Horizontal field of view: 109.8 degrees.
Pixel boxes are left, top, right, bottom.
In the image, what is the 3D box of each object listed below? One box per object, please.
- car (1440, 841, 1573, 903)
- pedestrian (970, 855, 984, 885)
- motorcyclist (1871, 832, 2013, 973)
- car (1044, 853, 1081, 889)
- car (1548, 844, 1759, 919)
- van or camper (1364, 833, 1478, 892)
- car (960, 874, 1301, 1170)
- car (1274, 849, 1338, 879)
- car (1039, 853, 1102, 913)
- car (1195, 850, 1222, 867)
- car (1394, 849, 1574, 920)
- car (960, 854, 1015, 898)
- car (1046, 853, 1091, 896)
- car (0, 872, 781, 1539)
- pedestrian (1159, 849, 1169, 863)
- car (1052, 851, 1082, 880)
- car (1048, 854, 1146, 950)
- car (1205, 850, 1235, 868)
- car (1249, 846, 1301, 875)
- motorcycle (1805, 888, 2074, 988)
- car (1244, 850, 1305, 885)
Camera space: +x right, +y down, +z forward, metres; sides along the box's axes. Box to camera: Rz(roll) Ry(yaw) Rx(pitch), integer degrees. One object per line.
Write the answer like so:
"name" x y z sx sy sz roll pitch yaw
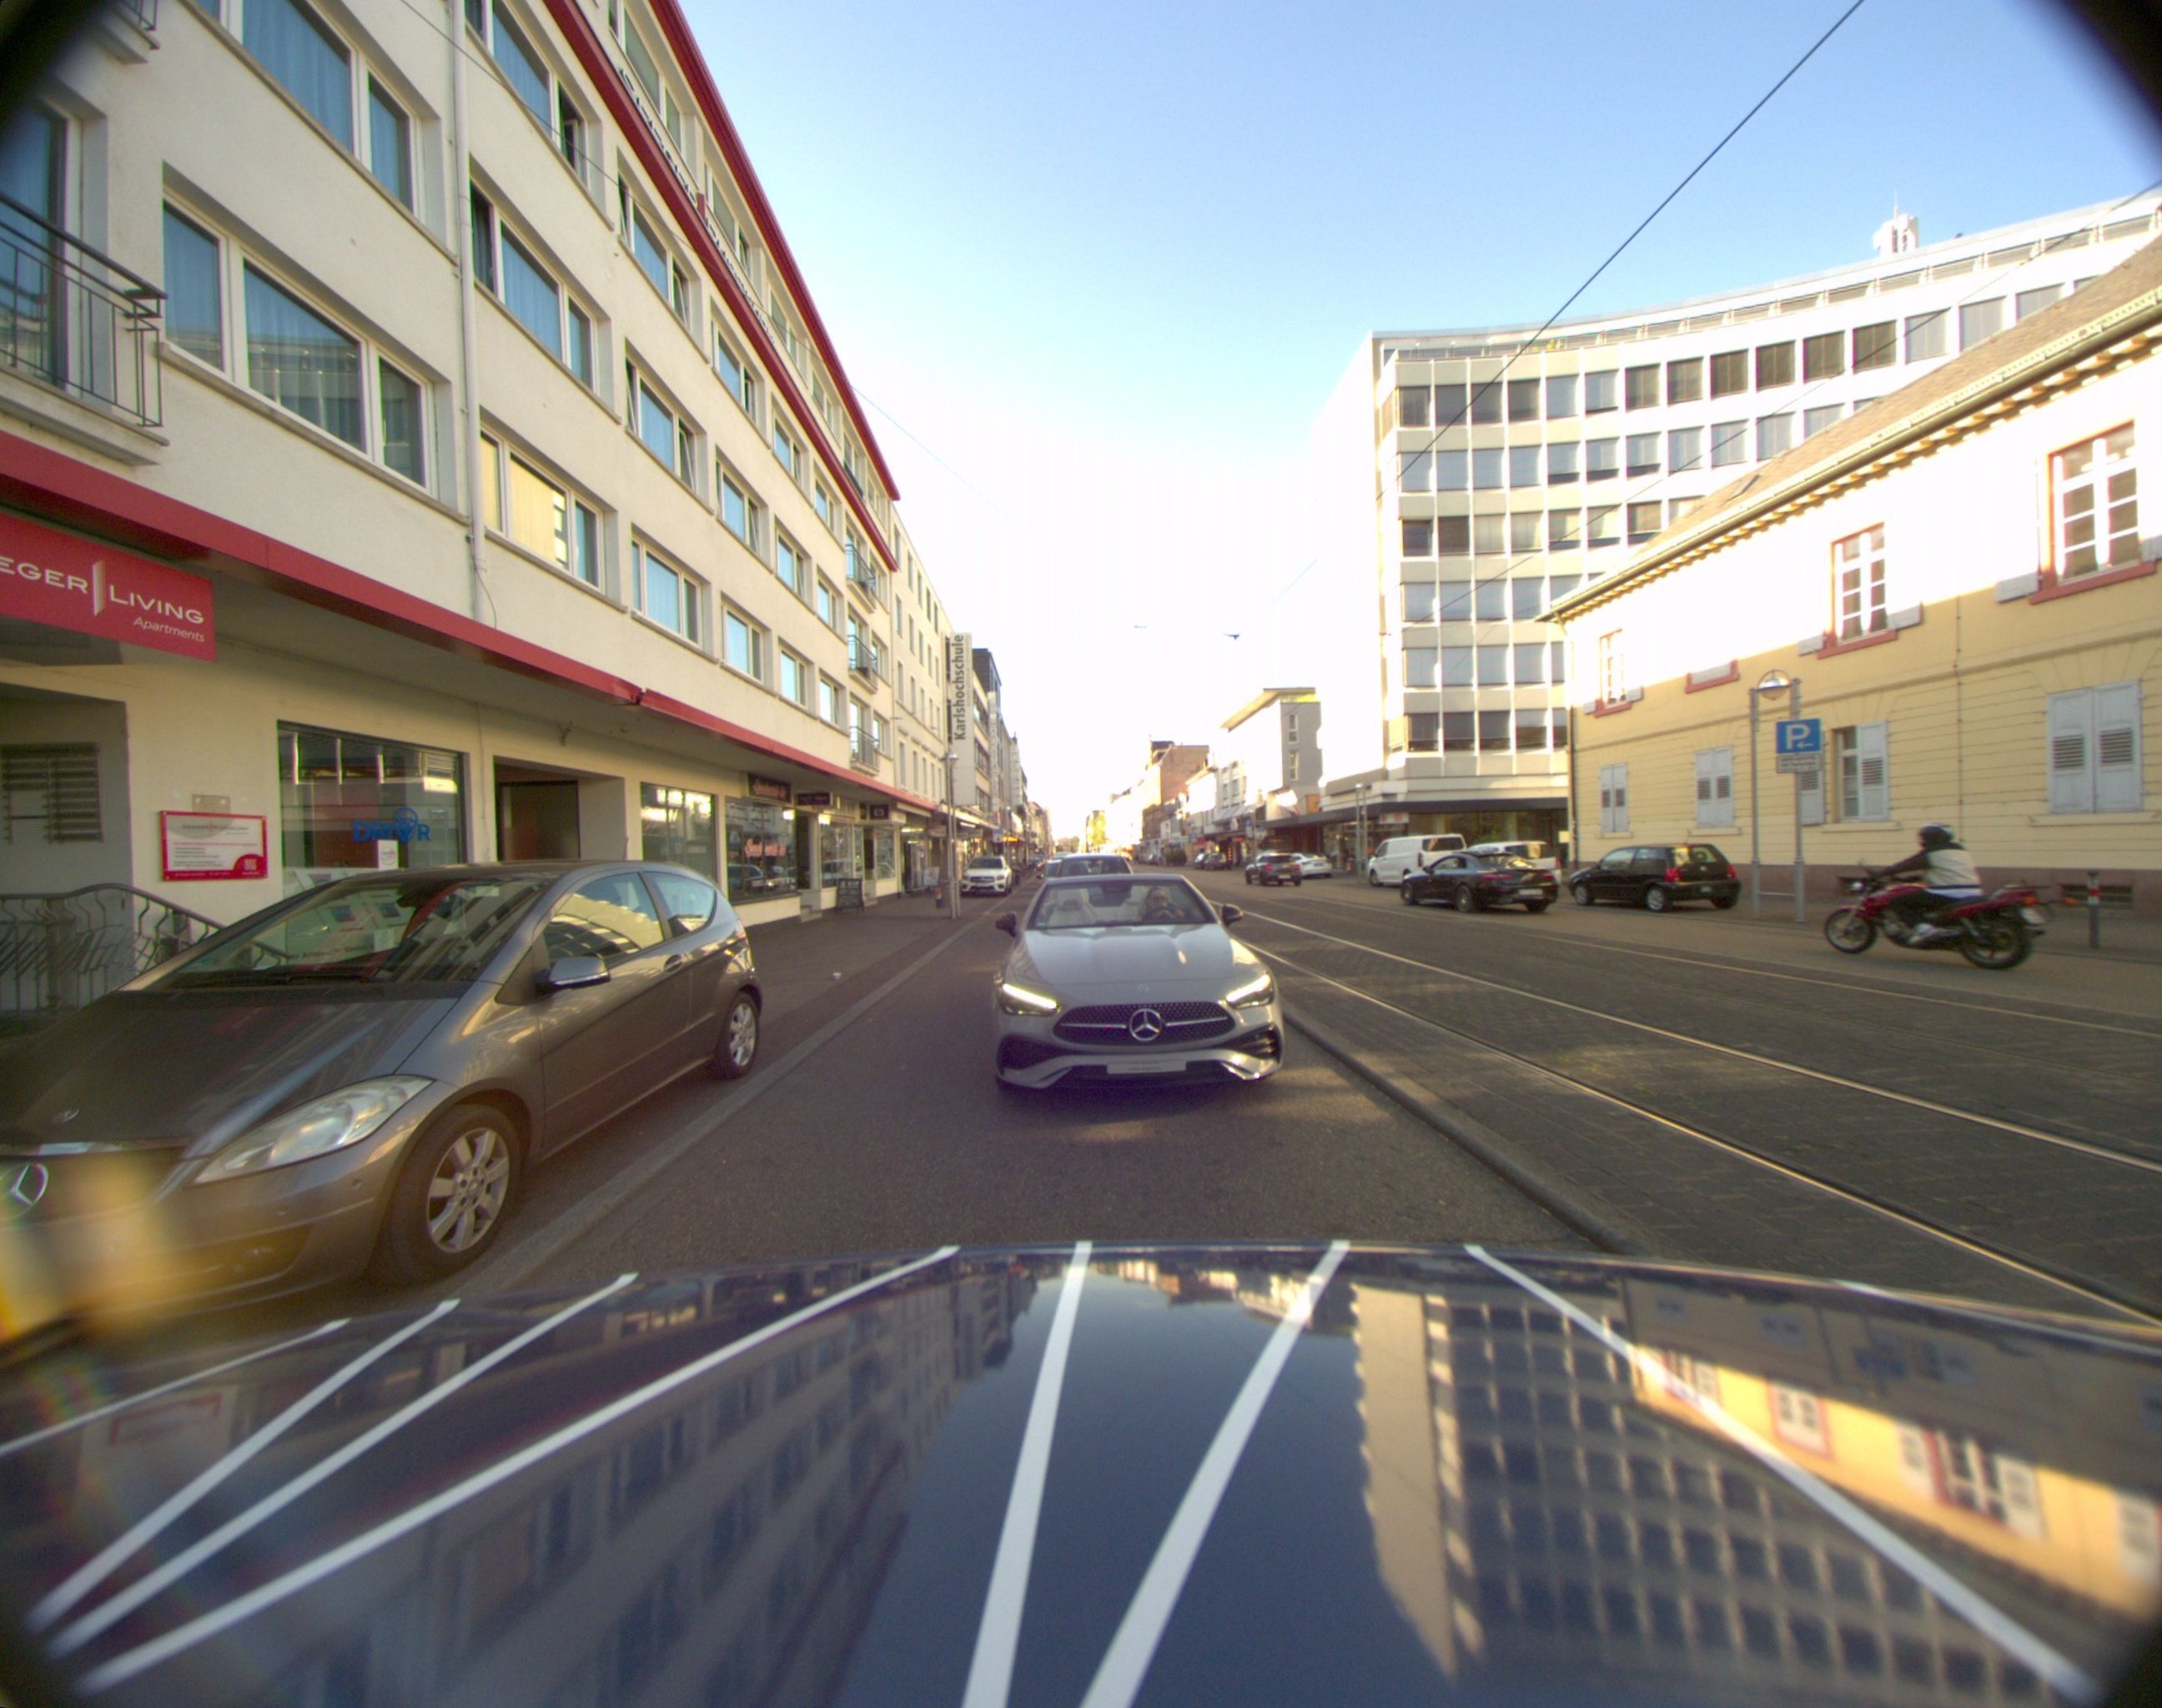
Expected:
"car" 12.823 0.481 23.225 1.781 1.611 4.175 -3 1 2
"pedestrian" -6.411 0.970 46.749 0.706 1.807 0.807 -2 1 -3
"motorcyclist" 10.075 0.538 8.921 0.654 1.549 0.883 -2 1 -9
"car" -0.870 0.803 37.370 1.737 1.654 3.781 0 1 0
"car" 12.872 0.537 17.445 1.781 1.431 3.960 -3 1 0
"van or camper" 12.735 0.277 28.856 1.960 1.962 4.796 -3 1 -2
"car" 0.267 0.991 6.567 1.869 1.431 4.773 0 1 0
"car" 12.390 0.508 42.148 1.931 1.444 4.291 -4 1 -5
"car" -0.318 0.833 23.661 1.783 1.654 3.960 0 1 0
"car" 11.845 0.398 71.023 1.786 1.511 3.832 -2 1 -1
"car" 9.605 0.646 18.632 1.782 1.500 4.668 -1 0 -3
"car" -3.804 0.842 31.491 1.783 1.654 4.162 0 1 0
"car" -0.504 0.814 31.954 1.737 1.654 3.960 0 1 0
"car" -3.221 0.948 3.897 1.781 1.560 3.960 0 1 0
"pedestrian" 10.673 0.236 97.332 1.010 1.811 1.032 -2 1 -8
"car" -0.856 0.641 46.530 1.737 1.654 3.960 0 1 0
"car" 0.270 0.851 15.516 1.737 1.654 3.960 0 1 0
"car" 11.953 0.389 65.478 1.786 1.408 3.596 -2 1 -2
"car" 12.132 0.396 47.783 1.931 1.632 4.280 -4 1 -3
"motorcycle" 10.085 0.933 9.084 0.601 0.921 2.154 -2 1 -8
"car" 8.845 0.602 34.990 1.781 1.500 3.859 -1 0 -1
